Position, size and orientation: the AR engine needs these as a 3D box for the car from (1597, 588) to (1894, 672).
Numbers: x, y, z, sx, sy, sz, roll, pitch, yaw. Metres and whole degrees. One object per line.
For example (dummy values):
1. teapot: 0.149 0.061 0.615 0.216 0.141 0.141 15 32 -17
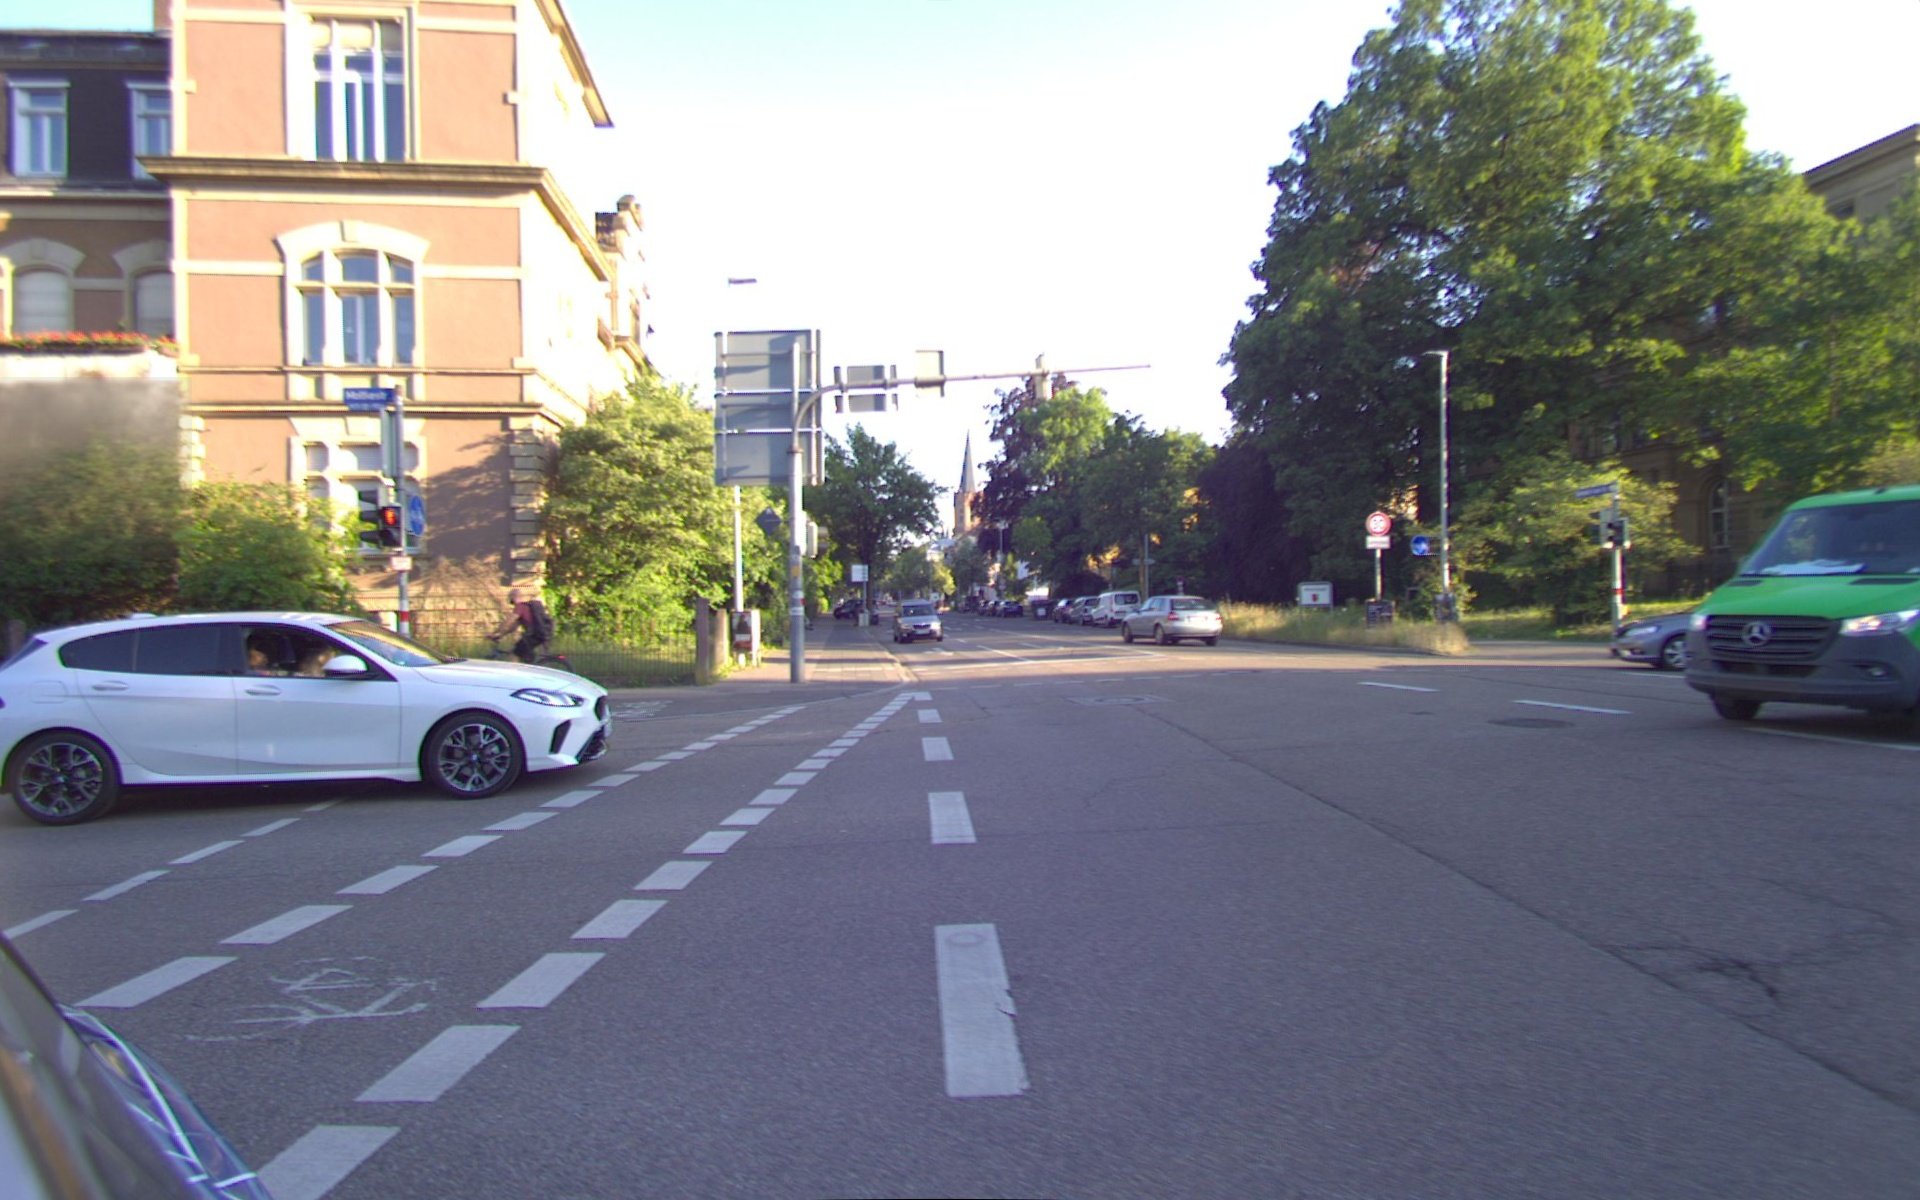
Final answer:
1. car: 13.386 0.508 17.514 3.613 1.338 1.760 -1 0 18

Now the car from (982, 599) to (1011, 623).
1. car: 3.272 0.934 91.571 1.969 2.029 4.006 -1 1 -6

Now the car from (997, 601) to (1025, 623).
1. car: 4.304 0.965 86.030 1.772 1.741 4.005 -1 1 -5

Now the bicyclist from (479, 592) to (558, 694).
1. bicyclist: -6.768 0.643 15.552 0.941 1.523 0.686 -1 0 -6

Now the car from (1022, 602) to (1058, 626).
1. car: 5.711 1.001 72.556 1.908 1.655 4.005 -1 0 -5

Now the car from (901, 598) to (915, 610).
1. car: -7.824 0.596 152.238 1.970 1.696 4.004 -1 1 -4

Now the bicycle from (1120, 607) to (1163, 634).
1. bicycle: 8.427 0.951 47.014 1.850 1.165 0.753 -1 1 -2

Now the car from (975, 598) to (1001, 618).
1. car: 2.666 0.747 96.788 1.969 1.829 4.006 -1 1 -6

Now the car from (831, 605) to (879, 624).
1. car: -9.030 1.208 86.941 3.839 1.519 1.788 0 2 34

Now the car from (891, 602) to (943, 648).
1. car: -1.659 0.898 38.058 1.665 1.521 3.705 -3 0 -6

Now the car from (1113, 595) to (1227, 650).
1. car: 5.939 0.617 29.177 1.707 1.419 4.149 -1 0 -11

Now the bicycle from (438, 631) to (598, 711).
1. bicycle: -6.752 1.074 15.541 2.135 1.131 0.689 -1 0 -6

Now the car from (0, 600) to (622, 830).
1. car: -4.948 0.787 8.069 4.119 1.477 1.762 -1 0 -13

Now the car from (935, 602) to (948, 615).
1. car: -2.653 1.202 144.473 1.652 1.741 3.641 -1 0 -5

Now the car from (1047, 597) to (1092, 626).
1. car: 6.696 0.689 62.294 1.908 1.719 4.005 -1 0 -5

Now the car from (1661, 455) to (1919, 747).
1. car: 9.987 -0.031 9.769 5.839 2.295 2.051 -1 0 -17

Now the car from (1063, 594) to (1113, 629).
1. car: 7.249 0.642 57.594 1.834 1.859 4.193 -1 0 -6

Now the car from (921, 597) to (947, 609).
1. car: -3.886 0.453 149.086 3.702 1.630 1.824 -1 0 -4

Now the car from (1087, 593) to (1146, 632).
1. car: 7.878 0.622 51.264 1.833 1.859 4.127 -1 0 -8
